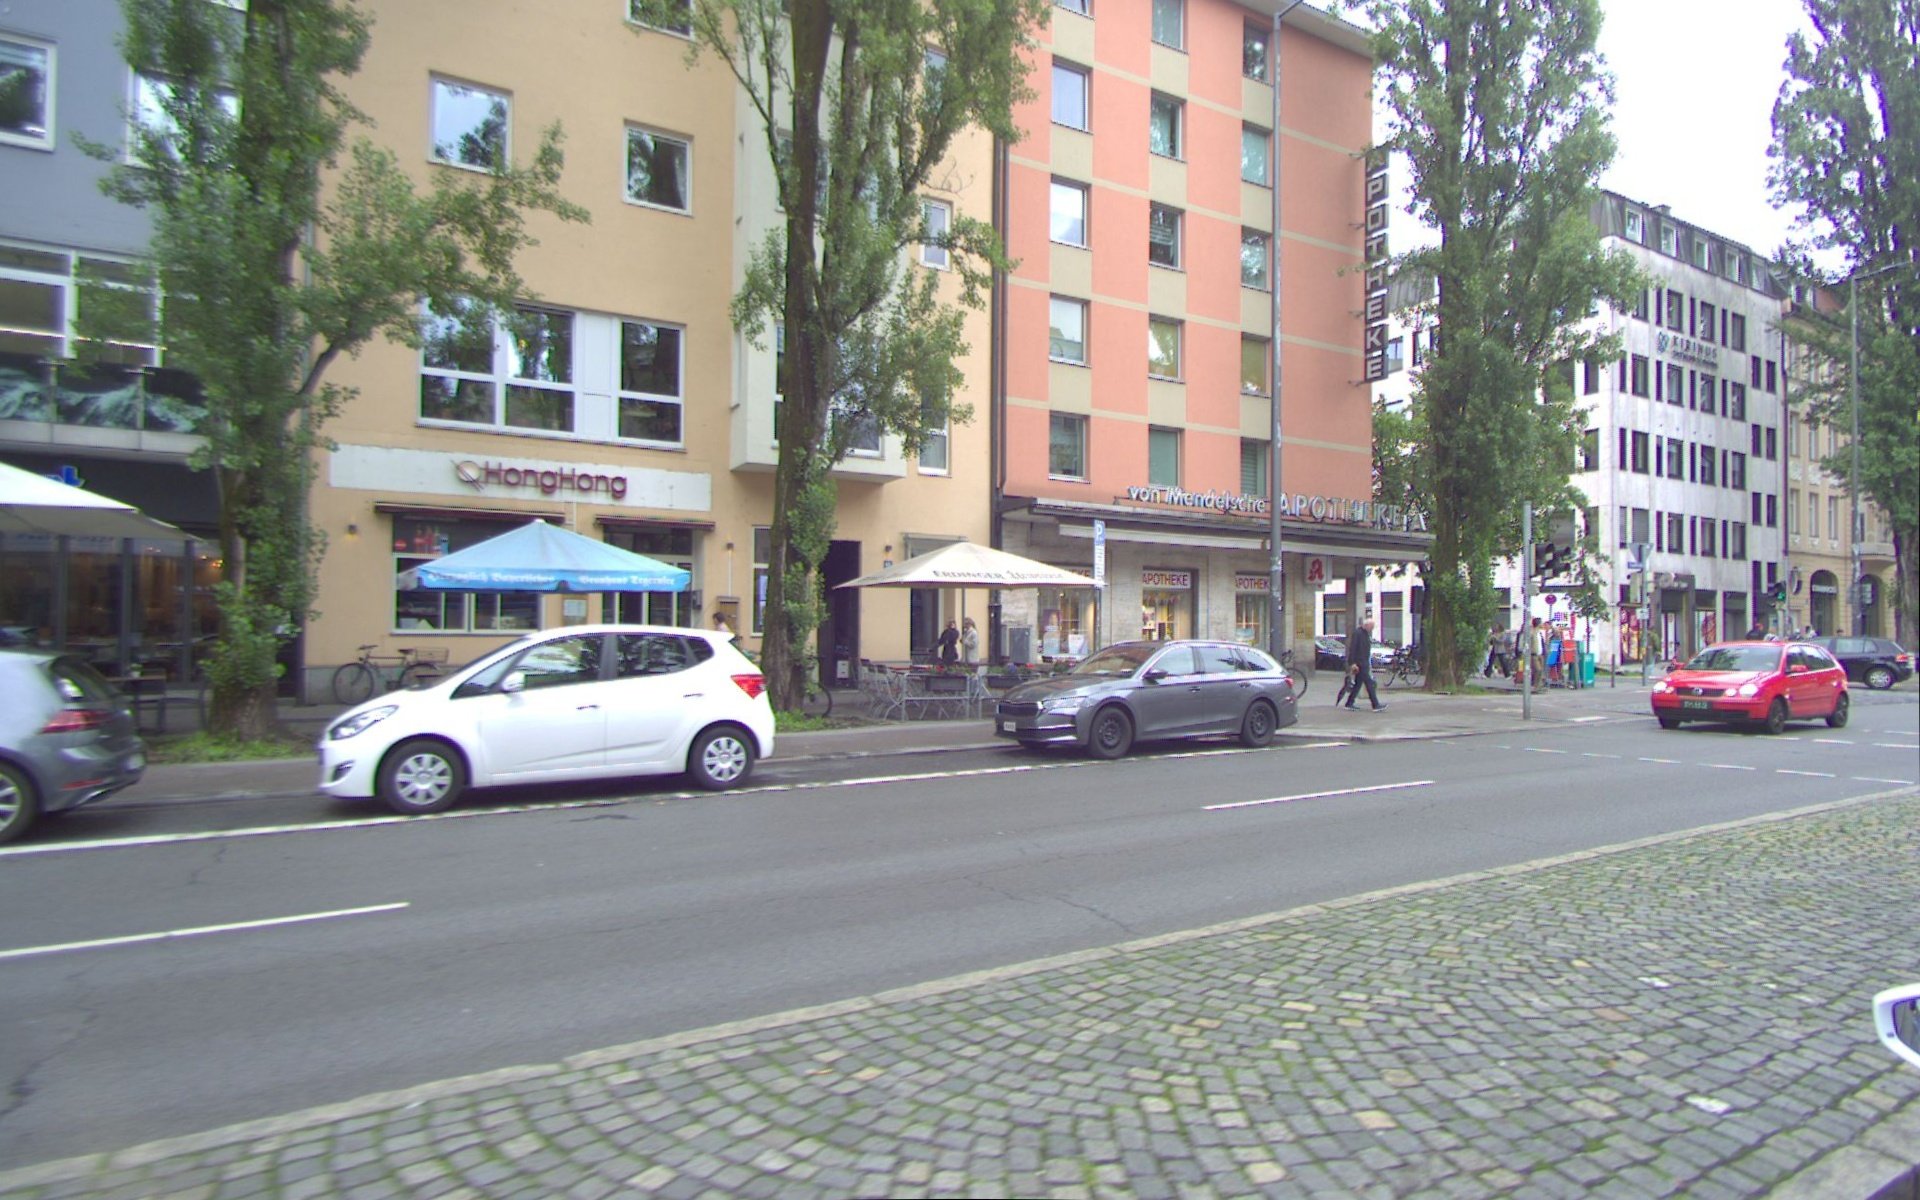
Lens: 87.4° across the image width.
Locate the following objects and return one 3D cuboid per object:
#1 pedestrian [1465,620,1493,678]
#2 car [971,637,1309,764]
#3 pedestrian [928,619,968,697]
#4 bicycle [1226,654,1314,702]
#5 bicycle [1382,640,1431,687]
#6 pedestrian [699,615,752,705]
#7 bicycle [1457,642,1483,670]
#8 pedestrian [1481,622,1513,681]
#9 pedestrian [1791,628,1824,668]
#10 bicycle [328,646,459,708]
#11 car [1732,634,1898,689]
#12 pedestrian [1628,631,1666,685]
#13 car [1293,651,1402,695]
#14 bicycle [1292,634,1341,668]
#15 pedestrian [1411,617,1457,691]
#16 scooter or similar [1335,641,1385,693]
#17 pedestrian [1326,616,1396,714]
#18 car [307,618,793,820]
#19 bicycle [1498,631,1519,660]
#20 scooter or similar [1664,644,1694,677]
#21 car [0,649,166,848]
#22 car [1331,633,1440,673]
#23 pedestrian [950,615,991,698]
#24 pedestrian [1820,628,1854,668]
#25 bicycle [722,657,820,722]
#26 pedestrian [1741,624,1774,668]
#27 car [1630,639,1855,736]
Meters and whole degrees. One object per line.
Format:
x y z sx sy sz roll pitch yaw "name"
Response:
15.784 1.481 30.540 0.508 1.713 0.584 1 -1 -30 "pedestrian"
2.506 1.259 13.546 4.539 1.457 1.694 2 -3 -32 "car"
-0.255 1.248 21.894 0.684 1.660 0.552 1 -1 -31 "pedestrian"
6.578 1.652 21.322 1.777 0.999 0.330 1 -1 -4 "bicycle"
11.467 1.620 25.799 1.357 1.156 0.419 1 -1 -30 "bicycle"
-4.528 1.133 19.358 0.793 1.690 0.776 1 -1 -31 "pedestrian"
22.365 2.437 44.069 0.444 1.199 2.051 -1 -2 44 "bicycle"
15.908 1.521 29.761 0.513 1.711 0.627 2 0 -29 "pedestrian"
33.969 1.907 40.266 0.978 1.588 0.747 1 -1 -31 "pedestrian"
-9.740 1.305 17.343 1.933 1.015 0.440 1 -1 -29 "bicycle"
25.136 1.768 29.639 3.650 1.494 1.763 -1 -2 42 "car"
22.962 1.929 33.569 0.931 1.763 0.723 2 0 -31 "pedestrian"
15.022 2.811 39.181 1.755 1.439 3.980 2 -1 -21 "car"
13.684 1.950 38.618 0.530 1.200 2.052 2 0 -22 "bicycle"
11.736 1.328 24.878 0.768 1.794 0.721 1 -1 -29 "pedestrian"
9.482 1.583 23.822 1.389 1.189 0.404 1 -1 -35 "scooter or similar"
7.699 1.239 19.289 0.975 1.819 0.736 1 0 -12 "pedestrian"
-3.841 1.033 9.763 4.047 1.604 1.695 2 -3 -30 "car"
23.387 1.931 42.818 0.410 1.199 1.999 -1 -2 40 "bicycle"
25.873 2.170 36.155 0.271 1.107 0.809 2 0 -33 "scooter or similar"
-8.320 1.036 7.007 4.138 1.399 1.487 2 -3 -31 "car"
16.834 2.066 39.927 1.755 1.439 3.981 1 -2 -21 "car"
0.228 1.204 21.491 0.684 1.740 0.552 1 -1 -31 "pedestrian"
36.048 1.967 41.294 0.924 1.640 0.774 1 -1 -31 "pedestrian"
-2.972 1.401 15.800 1.504 0.971 0.325 0 -1 14 "bicycle"
33.420 1.919 42.103 0.901 1.811 0.796 1 0 -30 "pedestrian"
13.199 1.395 16.916 3.779 1.456 1.728 2 -2 -30 "car"
